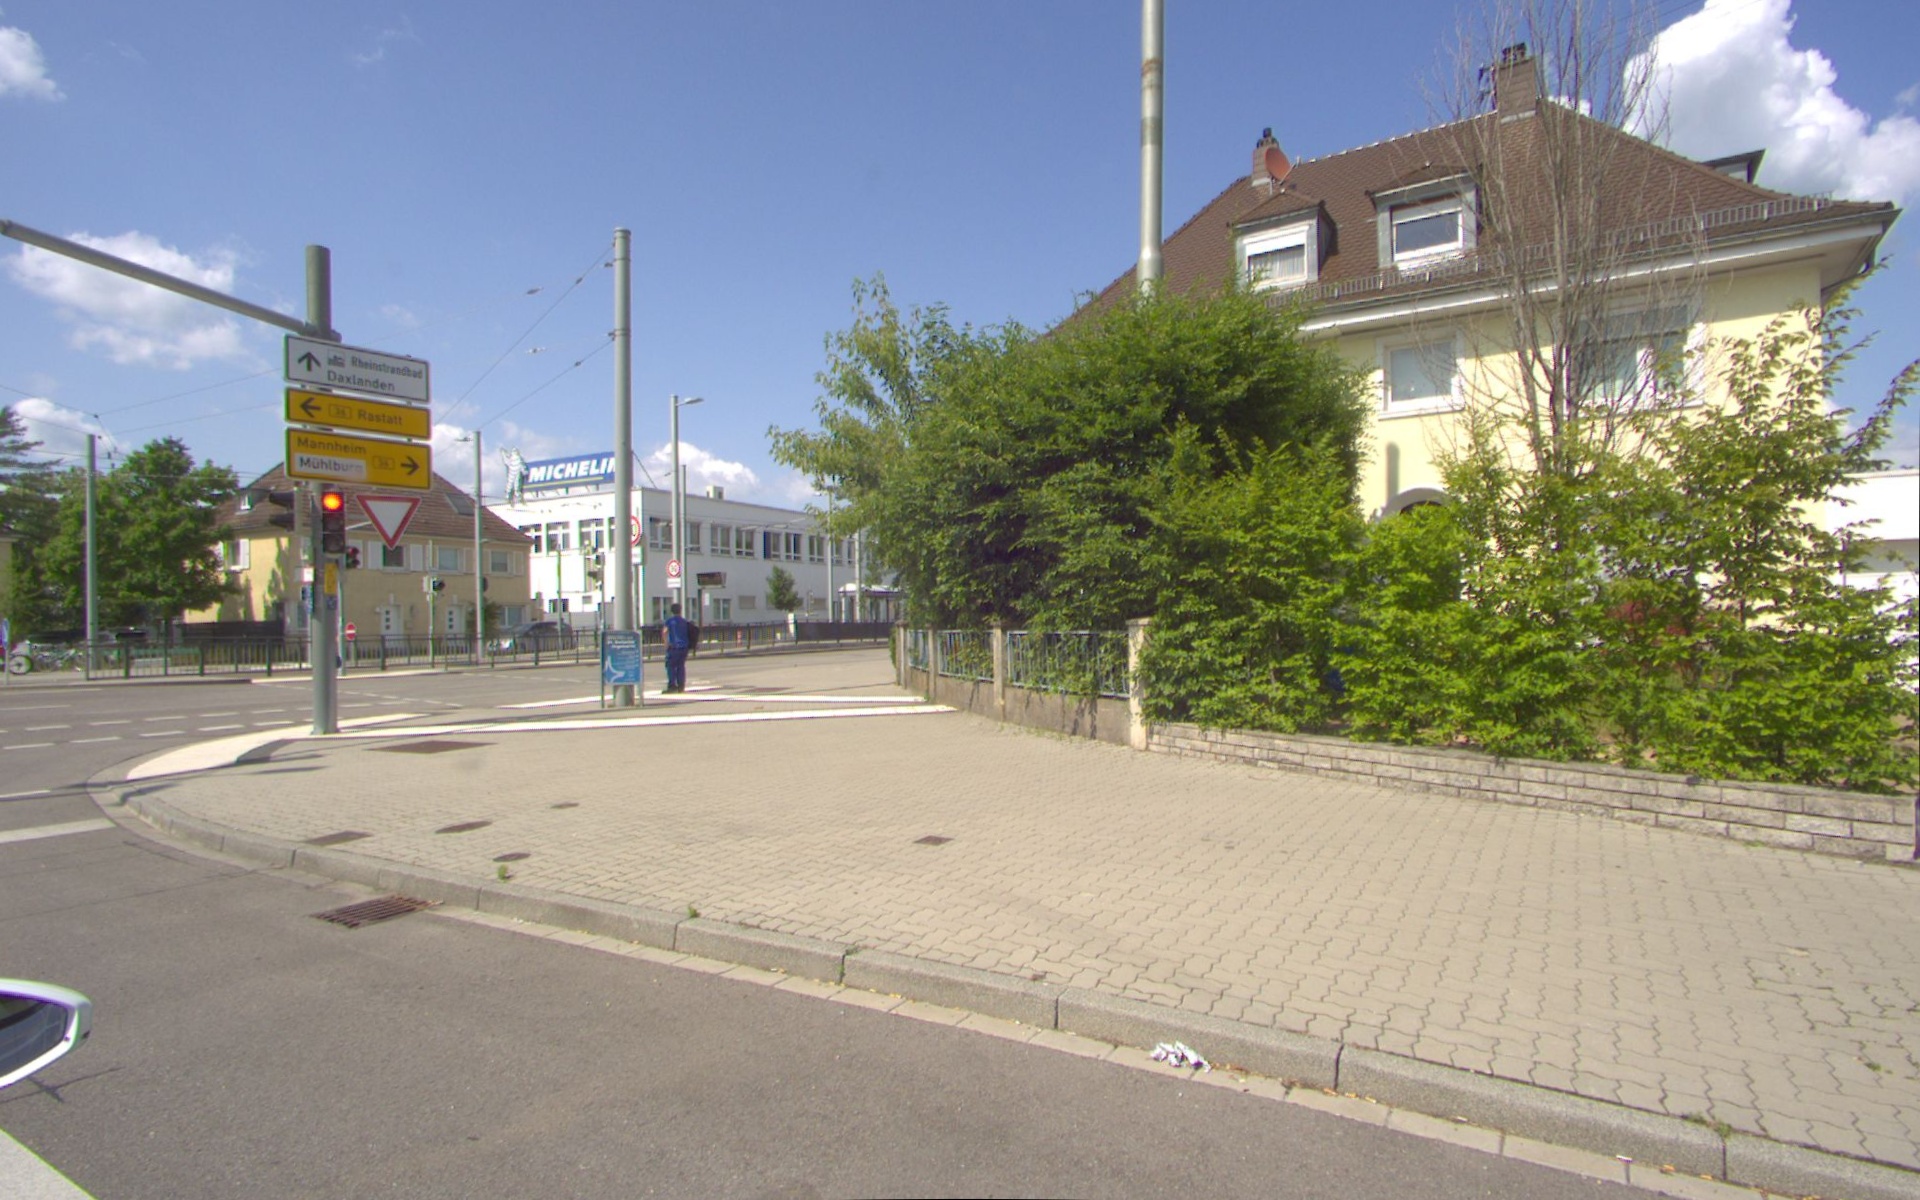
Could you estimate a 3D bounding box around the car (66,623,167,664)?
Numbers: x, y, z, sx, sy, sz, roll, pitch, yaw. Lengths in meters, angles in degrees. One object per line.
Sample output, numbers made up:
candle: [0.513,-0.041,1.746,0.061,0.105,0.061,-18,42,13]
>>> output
car: [-37.604,1.950,44.644,3.934,1.641,1.823,-3,-1,23]

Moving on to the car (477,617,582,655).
car: [-18.993,1.566,44.336,1.815,1.589,3.981,-1,-1,30]

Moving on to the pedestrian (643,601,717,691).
pedestrian: [-5.643,0.916,20.208,1.025,1.757,1.028,-1,0,29]

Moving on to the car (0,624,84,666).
car: [-39.398,1.921,42.458,3.934,1.641,1.823,-3,-1,23]

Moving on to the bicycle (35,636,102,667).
bicycle: [-34.001,1.944,38.214,1.777,1.119,0.701,-1,-1,-19]

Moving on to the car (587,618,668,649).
car: [-16.496,1.666,49.794,1.553,1.465,3.705,-1,-1,30]

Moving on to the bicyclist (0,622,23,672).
bicyclist: [-34.571,1.688,36.185,0.711,1.798,0.953,-2,-1,38]

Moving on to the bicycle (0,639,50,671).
bicycle: [-34.300,1.994,36.172,0.706,1.116,2.020,-2,-1,37]
